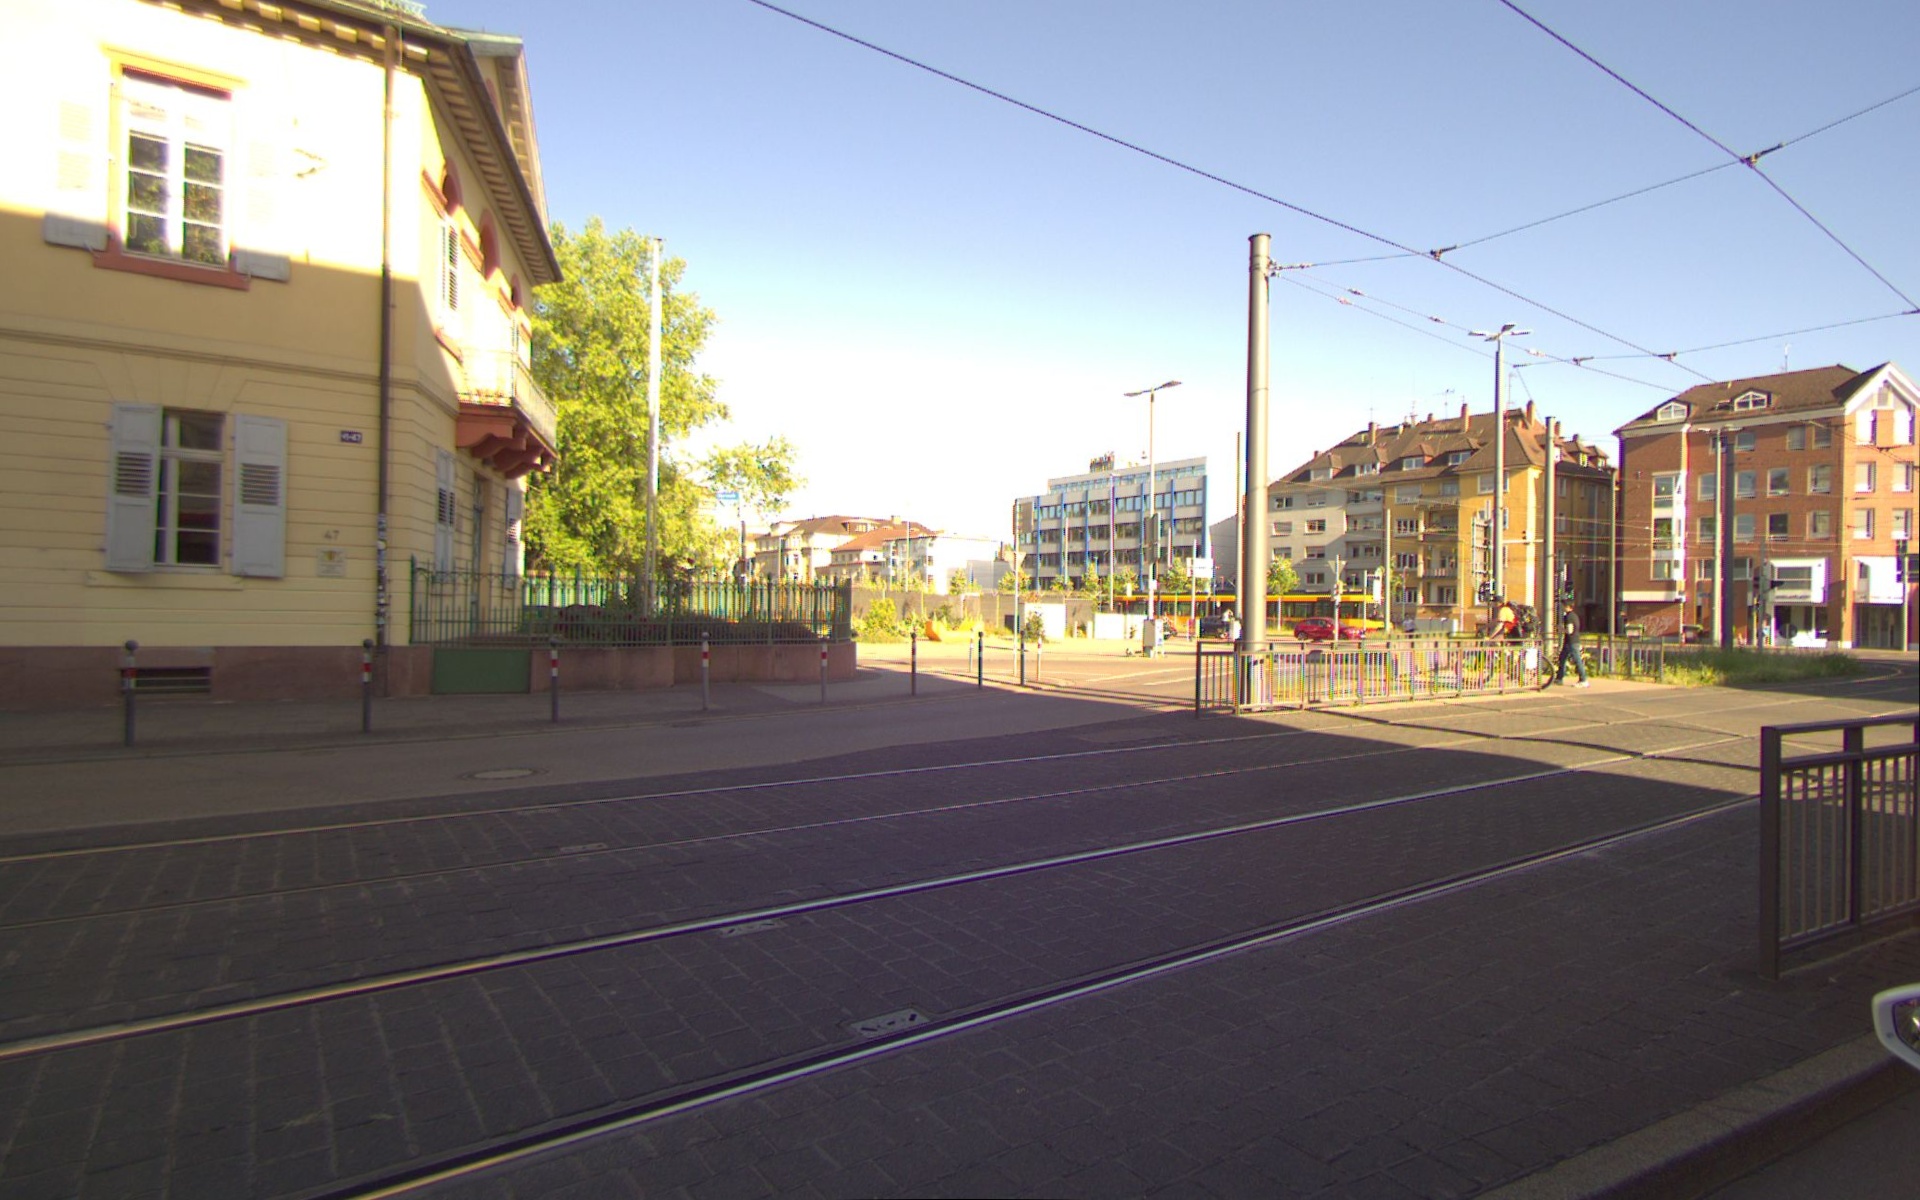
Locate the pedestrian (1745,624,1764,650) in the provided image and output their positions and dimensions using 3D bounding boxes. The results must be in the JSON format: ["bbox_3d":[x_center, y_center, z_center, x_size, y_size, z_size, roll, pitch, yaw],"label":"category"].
[{"bbox_3d":[55.900,2.603,70.663,0.737,1.845,0.781,2,0,-28],"label":"pedestrian"}]

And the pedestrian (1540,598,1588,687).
[{"bbox_3d":[11.828,0.821,19.662,0.769,1.703,0.585,2,0,-43],"label":"pedestrian"}]

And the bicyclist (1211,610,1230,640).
[{"bbox_3d":[16.411,1.594,63.280,0.785,1.832,0.892,2,0,-43],"label":"bicyclist"}]

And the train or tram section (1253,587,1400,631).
[{"bbox_3d":[28.753,0.657,79.586,2.780,3.172,11.143,2,0,-38],"label":"train or tram section"}]

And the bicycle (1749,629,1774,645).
[{"bbox_3d":[50.372,2.338,63.129,1.669,0.994,0.403,2,0,-22],"label":"bicycle"}]

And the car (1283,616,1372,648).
[{"bbox_3d":[21.877,1.886,59.902,1.984,1.723,4.545,2,0,-41],"label":"car"}]

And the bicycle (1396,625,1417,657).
[{"bbox_3d":[18.072,1.657,40.608,0.477,1.238,1.850,2,0,32],"label":"bicycle"}]

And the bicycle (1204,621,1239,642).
[{"bbox_3d":[16.466,1.958,63.243,0.542,1.230,2.168,2,0,-41],"label":"bicycle"}]

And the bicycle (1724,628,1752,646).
[{"bbox_3d":[45.566,2.168,58.836,2.220,0.984,0.521,2,0,-31],"label":"bicycle"}]

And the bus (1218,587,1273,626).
[{"bbox_3d":[24.268,0.552,85.480,2.744,3.172,3.492,2,0,-36],"label":"bus"}]

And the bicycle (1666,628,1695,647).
[{"bbox_3d":[39.769,2.065,55.416,2.220,0.984,0.444,2,0,-31],"label":"bicycle"}]

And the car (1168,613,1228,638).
[{"bbox_3d":[16.153,1.747,68.298,1.631,1.546,3.822,2,0,-38],"label":"car"}]

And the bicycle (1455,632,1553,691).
[{"bbox_3d":[10.118,1.129,18.711,1.573,1.007,0.403,2,0,30],"label":"bicycle"}]

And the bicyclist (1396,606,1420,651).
[{"bbox_3d":[18.130,1.149,40.643,0.745,1.783,0.751,2,0,33],"label":"bicyclist"}]

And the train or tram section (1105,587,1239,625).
[{"bbox_3d":[19.197,0.436,92.400,2.708,3.172,13.572,2,0,-37],"label":"train or tram section"}]

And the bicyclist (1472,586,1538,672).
[{"bbox_3d":[10.146,0.531,18.709,1.025,1.542,0.391,2,0,30],"label":"bicyclist"}]

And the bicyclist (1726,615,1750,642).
[{"bbox_3d":[45.565,1.671,58.826,0.688,1.523,0.894,2,0,-30],"label":"bicyclist"}]

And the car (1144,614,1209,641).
[{"bbox_3d":[14.751,1.873,68.576,1.895,1.708,3.916,2,0,-41],"label":"car"}]

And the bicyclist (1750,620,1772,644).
[{"bbox_3d":[50.372,1.987,63.167,0.958,1.490,0.702,1,0,-22],"label":"bicyclist"}]

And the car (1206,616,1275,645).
[{"bbox_3d":[18.011,1.943,64.584,1.762,1.694,3.955,2,0,-39],"label":"car"}]

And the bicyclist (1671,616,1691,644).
[{"bbox_3d":[39.765,1.648,55.413,0.688,1.523,0.630,2,0,-30],"label":"bicyclist"}]
